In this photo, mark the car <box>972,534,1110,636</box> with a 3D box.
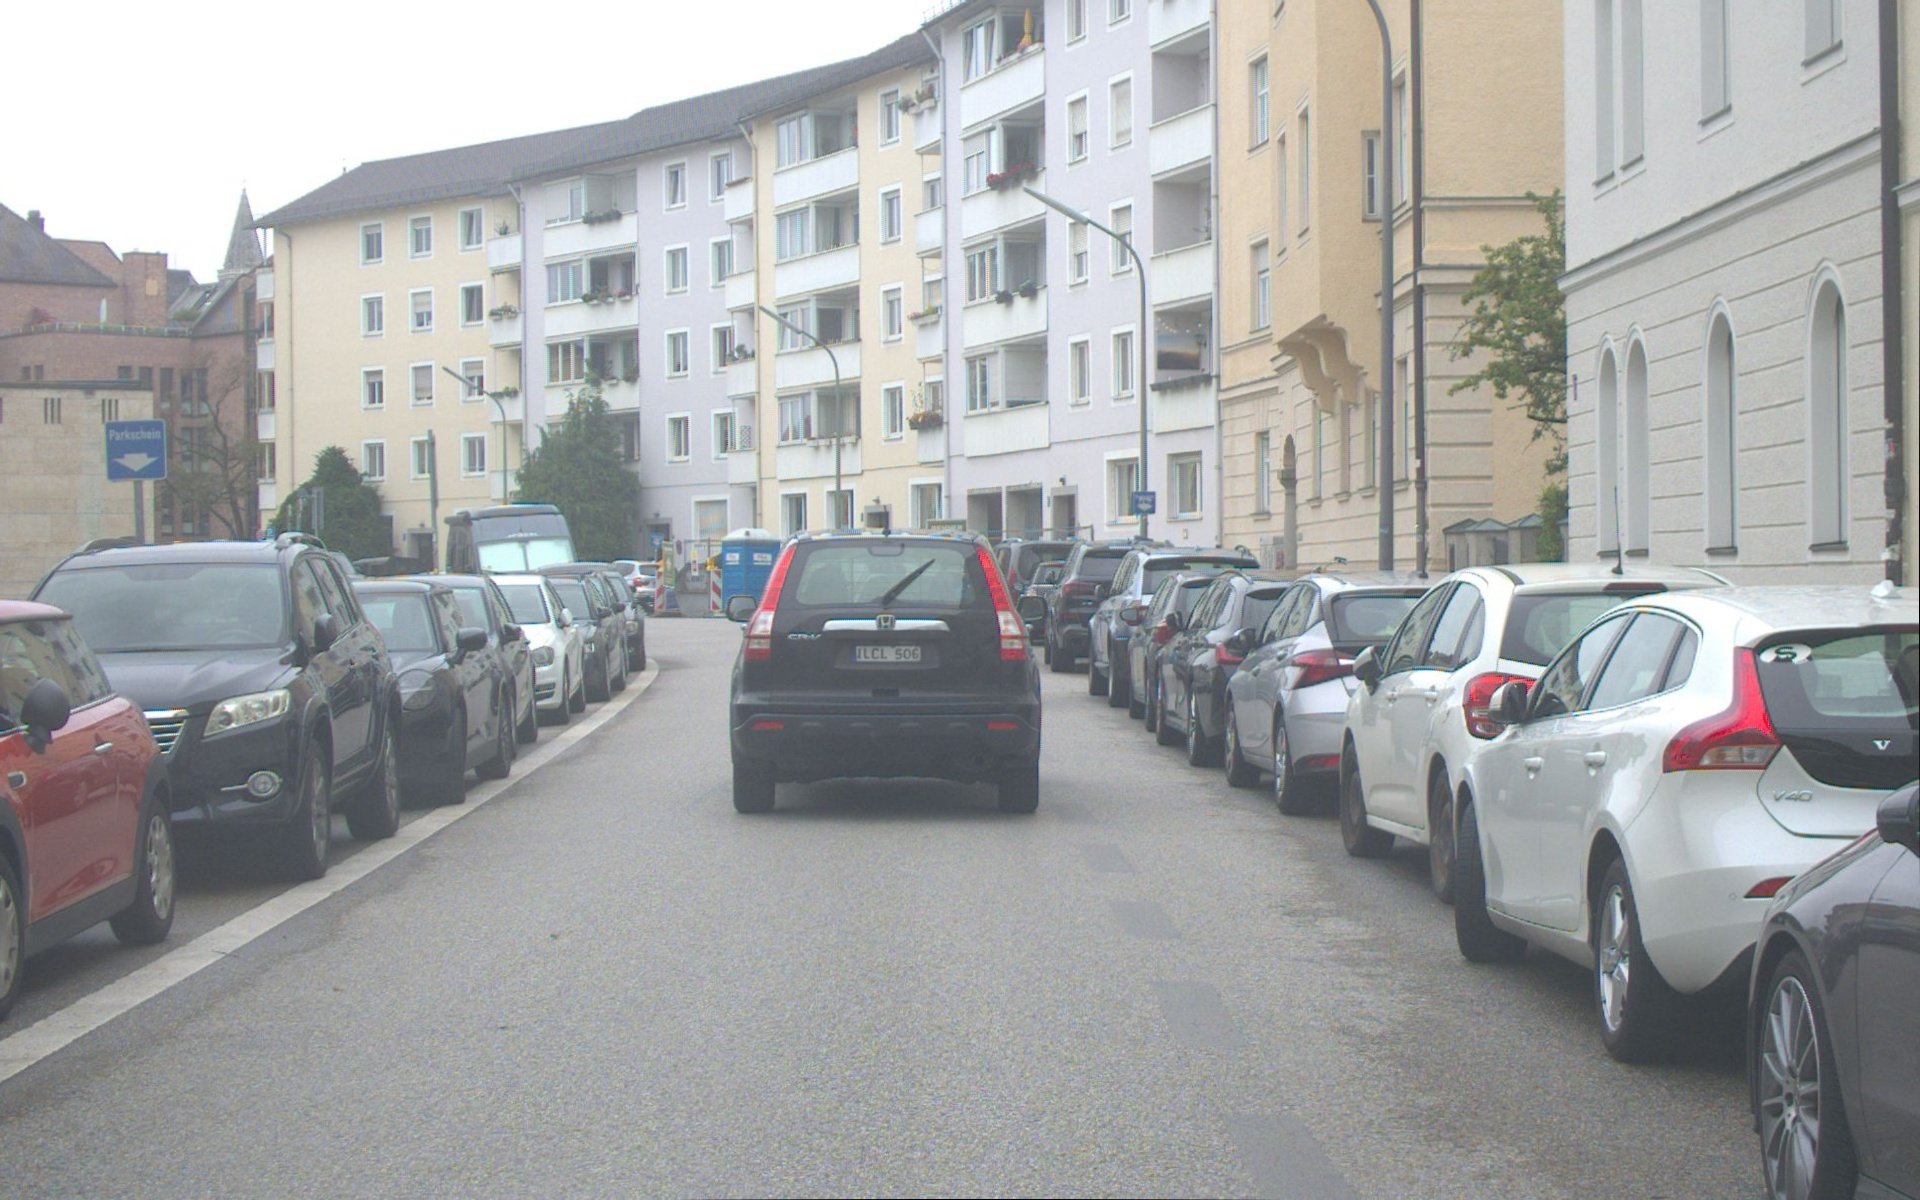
[{"bbox_3d":[1.458,-0.295,63.656,1.777,1.800,4.277,1,0,-9],"label":"car"}]

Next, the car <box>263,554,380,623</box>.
[{"bbox_3d":[-16.208,-0.298,87.110,1.679,1.701,4.514,0,1,-27],"label":"car"}]

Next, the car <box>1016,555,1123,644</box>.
[{"bbox_3d":[1.841,-0.021,58.875,1.708,1.442,3.830,1,0,0],"label":"car"}]

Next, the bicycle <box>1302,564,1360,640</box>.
[{"bbox_3d":[5.556,0.015,51.562,0.579,1.079,1.953,-3,1,-1],"label":"bicycle"}]

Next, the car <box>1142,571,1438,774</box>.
[{"bbox_3d":[2.442,0.488,26.388,1.679,1.422,4.391,0,0,-2],"label":"car"}]

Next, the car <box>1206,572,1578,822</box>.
[{"bbox_3d":[2.630,0.538,21.808,1.679,1.422,4.167,0,0,-2],"label":"car"}]

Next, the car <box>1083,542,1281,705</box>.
[{"bbox_3d":[2.315,0.216,36.759,1.722,1.628,4.458,0,0,-1],"label":"car"}]

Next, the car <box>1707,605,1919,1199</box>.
[{"bbox_3d":[2.650,0.732,5.860,1.679,1.405,4.422,0,0,-2],"label":"car"}]

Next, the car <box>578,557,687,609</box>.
[{"bbox_3d":[-9.573,-0.503,100.344,1.724,1.478,4.000,0,1,-29],"label":"car"}]

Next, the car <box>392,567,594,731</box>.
[{"bbox_3d":[-4.561,0.438,34.010,1.656,1.448,4.074,-2,1,-4],"label":"car"}]

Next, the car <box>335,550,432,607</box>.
[{"bbox_3d":[-19.648,-0.742,117.017,1.724,1.871,4.000,0,1,-35],"label":"car"}]

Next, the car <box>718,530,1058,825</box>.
[{"bbox_3d":[-0.542,0.413,21.199,1.890,1.642,3.992,0,0,-4],"label":"car"}]

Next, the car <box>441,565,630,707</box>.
[{"bbox_3d":[-4.758,0.361,39.077,1.755,1.448,4.396,-2,1,-3],"label":"car"}]

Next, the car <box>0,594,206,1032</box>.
[{"bbox_3d":[-4.013,0.693,12.461,1.743,1.382,3.918,0,1,-1],"label":"car"}]

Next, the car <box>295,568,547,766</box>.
[{"bbox_3d":[-4.377,0.492,28.371,1.656,1.448,3.975,-2,1,-4],"label":"car"}]

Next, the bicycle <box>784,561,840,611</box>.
[{"bbox_3d":[-4.125,-0.397,95.594,0.968,1.384,2.564,0,1,-16],"label":"bicycle"}]

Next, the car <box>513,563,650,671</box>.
[{"bbox_3d":[-5.360,0.202,48.960,1.799,1.401,4.456,-2,1,-5],"label":"car"}]

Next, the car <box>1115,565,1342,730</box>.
[{"bbox_3d":[2.415,0.392,31.730,1.679,1.422,4.087,0,0,-1],"label":"car"}]

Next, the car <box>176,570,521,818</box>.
[{"bbox_3d":[-4.013,0.562,23.105,1.680,1.448,3.870,-2,1,-2],"label":"car"}]

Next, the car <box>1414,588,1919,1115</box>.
[{"bbox_3d":[2.722,0.676,11.594,1.679,1.405,4.443,0,0,-2],"label":"car"}]

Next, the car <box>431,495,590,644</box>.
[{"bbox_3d":[-8.566,-0.605,65.086,2.163,2.632,6.019,-2,1,-15],"label":"car"}]

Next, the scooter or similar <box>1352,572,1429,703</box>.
[{"bbox_3d":[3.881,0.333,31.051,0.484,1.160,1.172,0,0,-3],"label":"scooter or similar"}]

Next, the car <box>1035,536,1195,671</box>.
[{"bbox_3d":[2.051,0.021,46.723,1.869,1.711,4.866,1,0,-1],"label":"car"}]

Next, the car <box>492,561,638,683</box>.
[{"bbox_3d":[-5.031,0.251,44.134,1.656,1.448,3.313,-2,1,-4],"label":"car"}]

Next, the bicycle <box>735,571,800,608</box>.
[{"bbox_3d":[-5.770,-0.323,103.282,1.865,1.087,0.566,0,0,-22],"label":"bicycle"}]

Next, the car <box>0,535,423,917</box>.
[{"bbox_3d":[-4.008,0.558,17.893,1.743,1.660,4.449,-4,1,-2],"label":"car"}]

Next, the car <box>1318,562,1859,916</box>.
[{"bbox_3d":[2.857,0.564,16.511,1.679,1.476,4.167,0,0,-2],"label":"car"}]
